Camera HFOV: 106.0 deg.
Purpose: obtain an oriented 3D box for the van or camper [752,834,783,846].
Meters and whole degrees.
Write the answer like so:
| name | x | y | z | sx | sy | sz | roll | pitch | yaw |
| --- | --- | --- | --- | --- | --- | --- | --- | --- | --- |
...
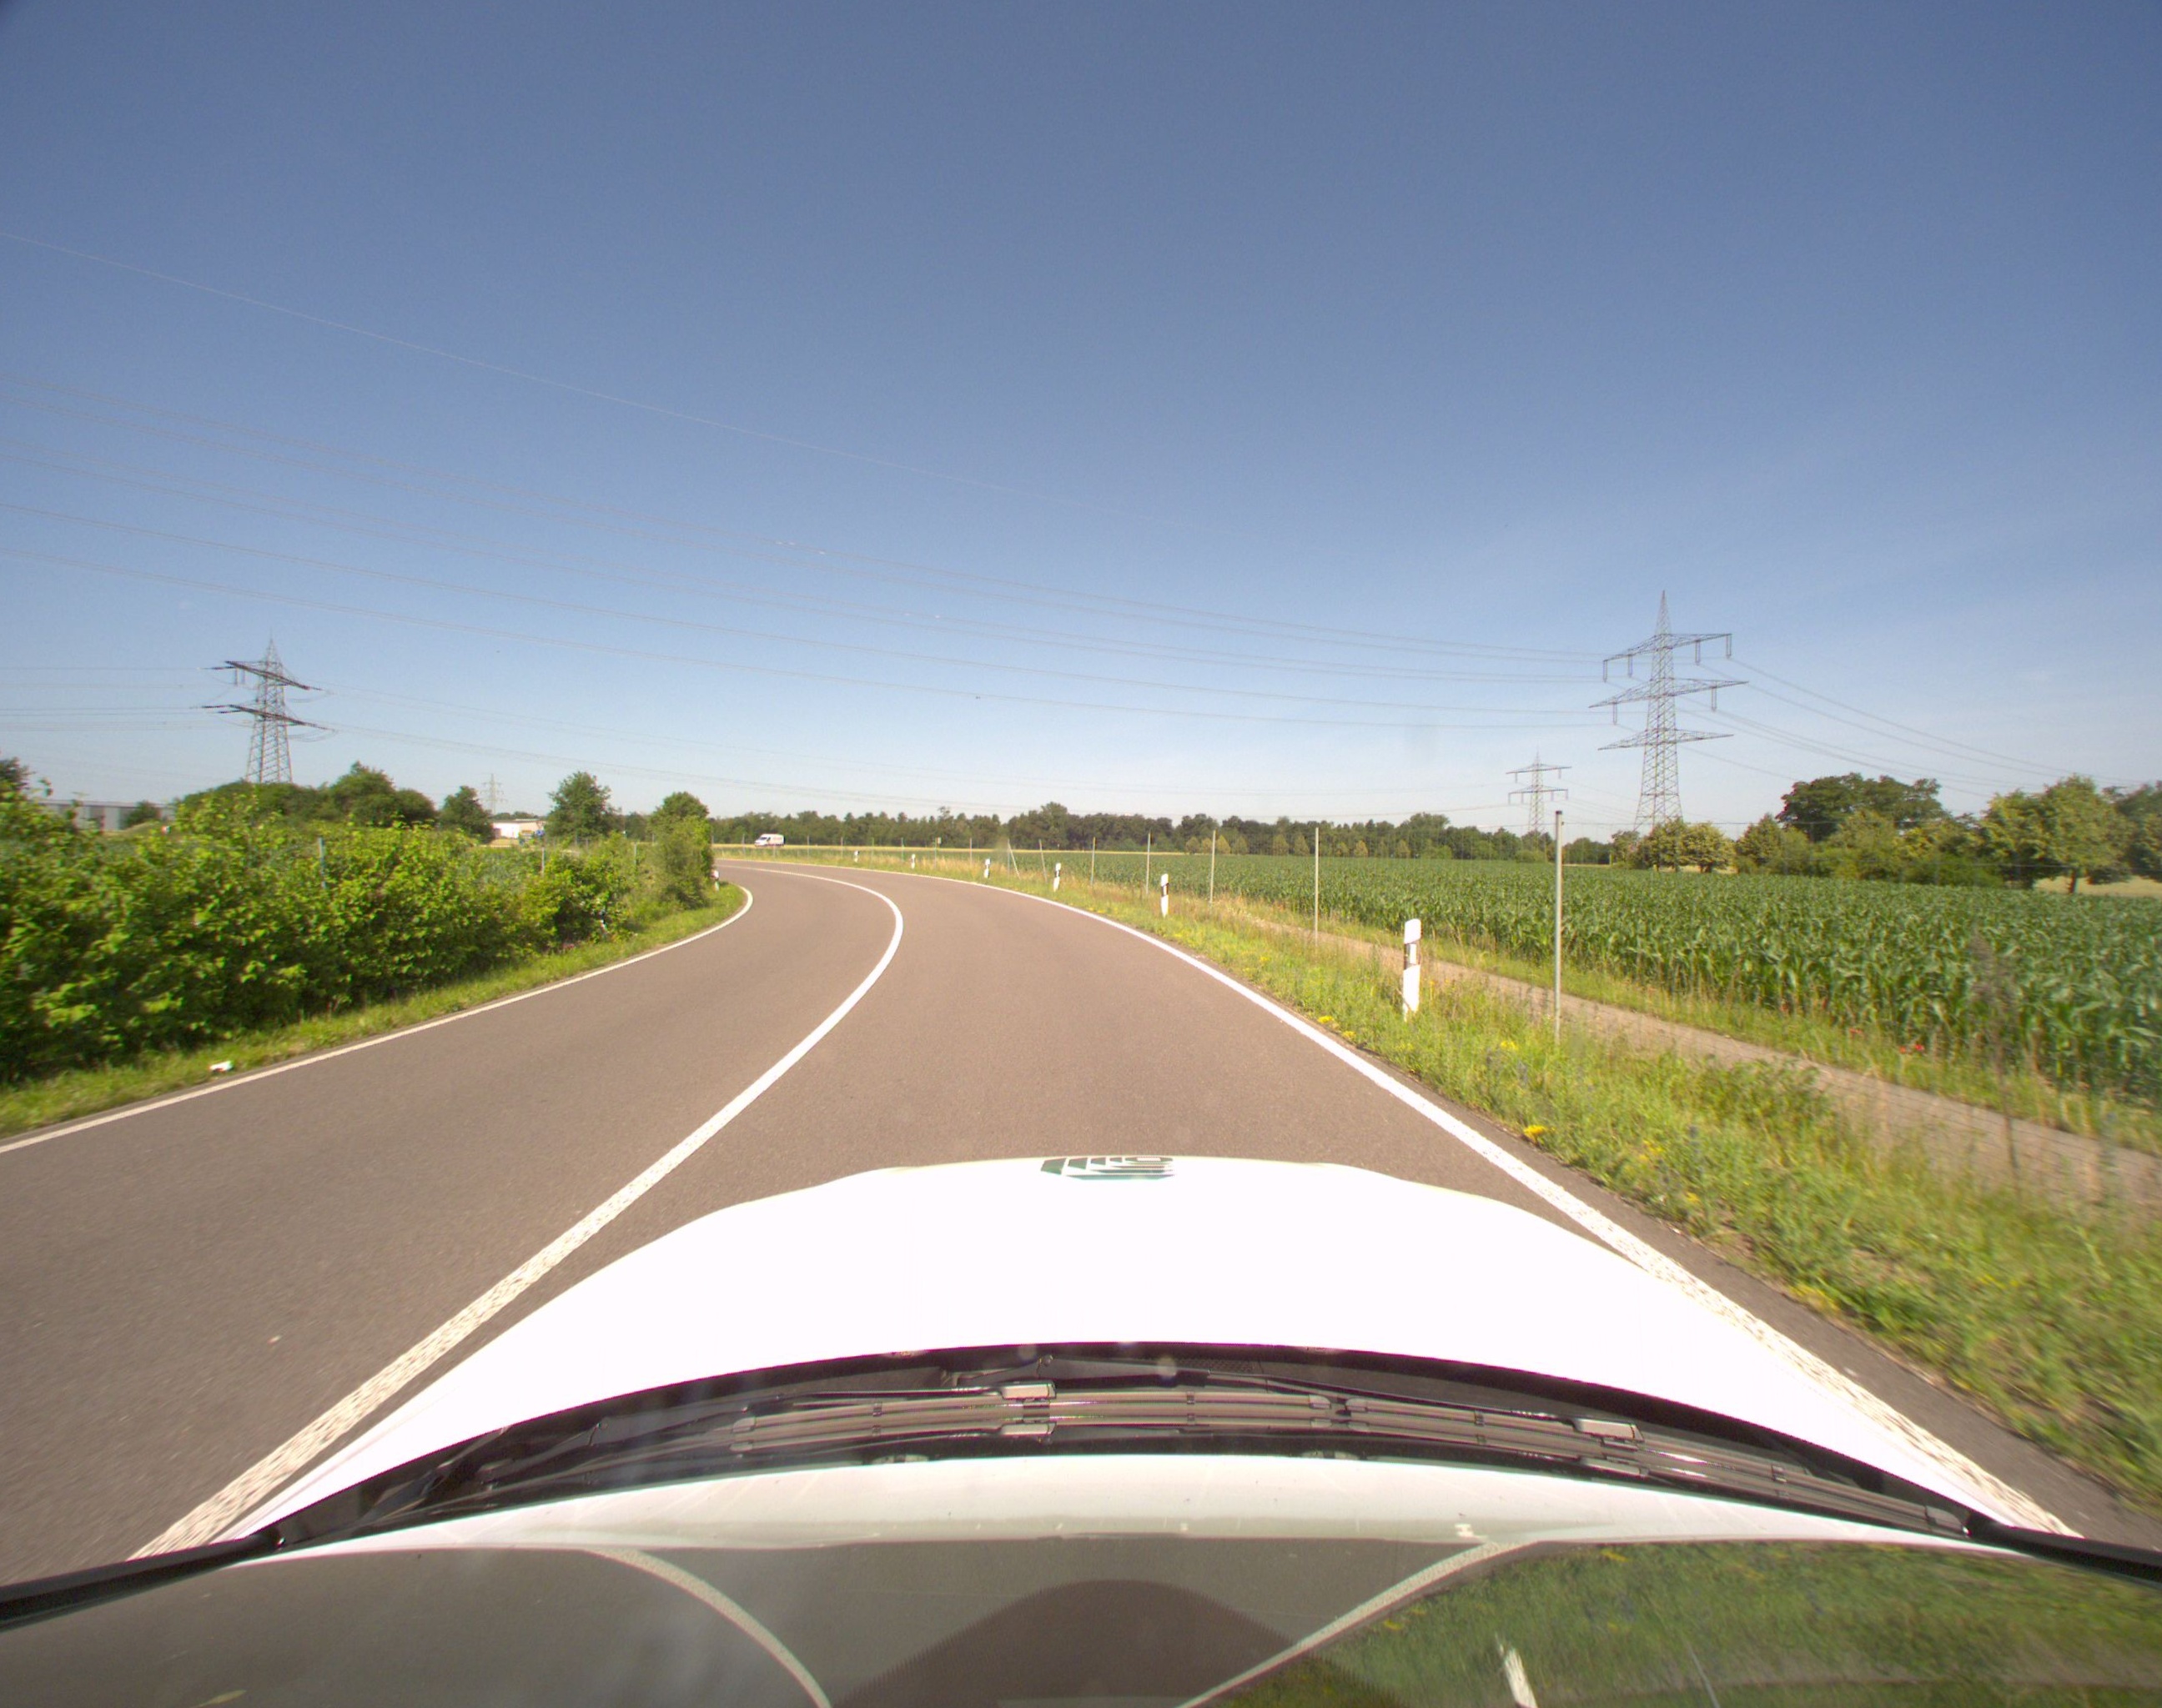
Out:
| name | x | y | z | sx | sy | sz | roll | pitch | yaw |
| --- | --- | --- | --- | --- | --- | --- | --- | --- | --- |
| van or camper | -58.606 | -2.594 | 152.381 | 1.977 | 2.266 | 5.798 | 1 | 0 | 21 |
